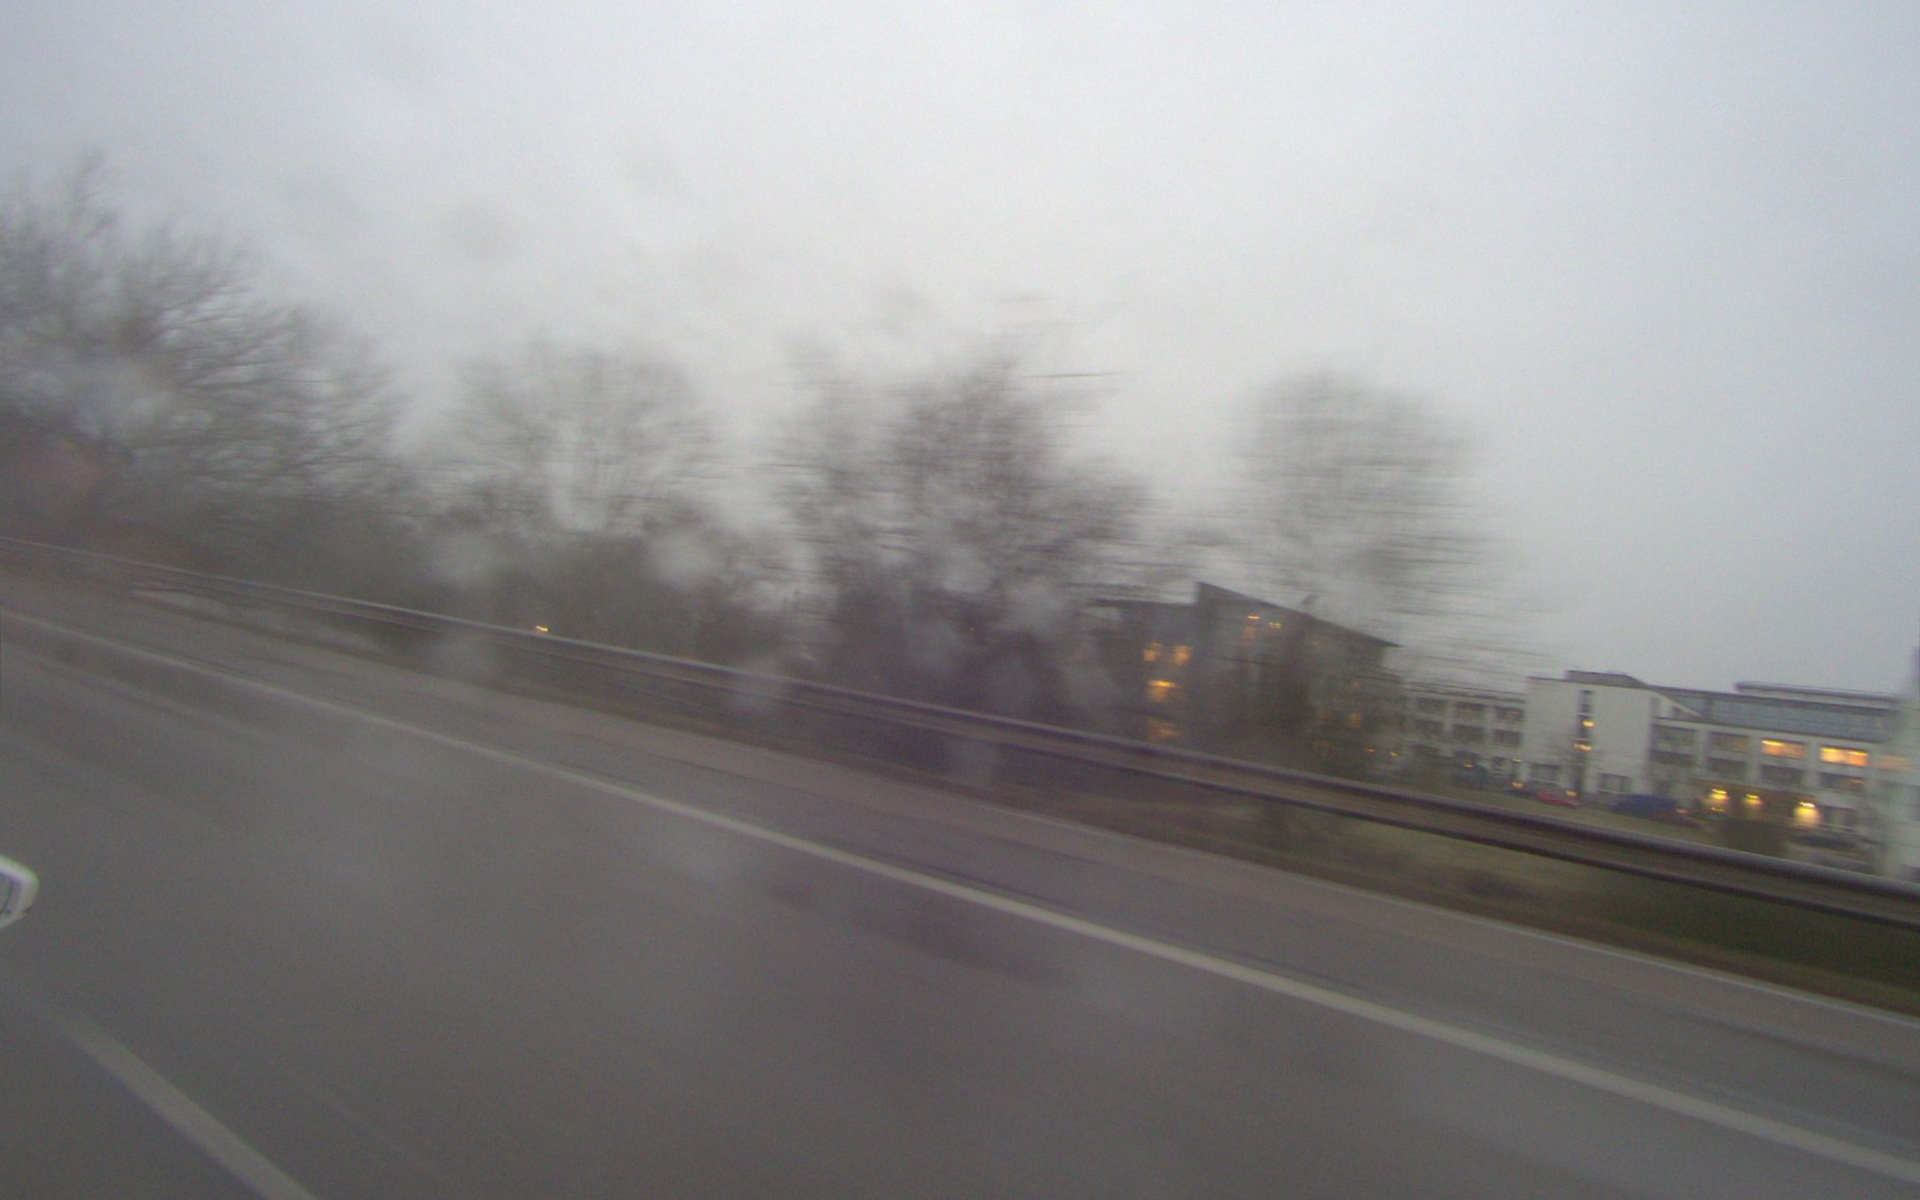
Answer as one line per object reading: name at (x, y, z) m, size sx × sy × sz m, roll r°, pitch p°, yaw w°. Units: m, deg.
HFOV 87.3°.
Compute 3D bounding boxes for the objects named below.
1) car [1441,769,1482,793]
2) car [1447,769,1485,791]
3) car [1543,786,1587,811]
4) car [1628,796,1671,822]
car at (59.300, 21.412, 118.908) m, size 3.938 × 2.037 × 1.995 m, roll 6°, pitch -2°, yaw 36°
car at (64.916, 23.117, 129.180) m, size 3.938 × 2.037 × 1.995 m, roll 6°, pitch -2°, yaw 36°
car at (68.915, 22.588, 114.578) m, size 3.938 × 2.037 × 1.995 m, roll 6°, pitch -2°, yaw 36°
car at (79.631, 24.149, 116.175) m, size 3.938 × 2.037 × 1.995 m, roll 6°, pitch -2°, yaw 36°
